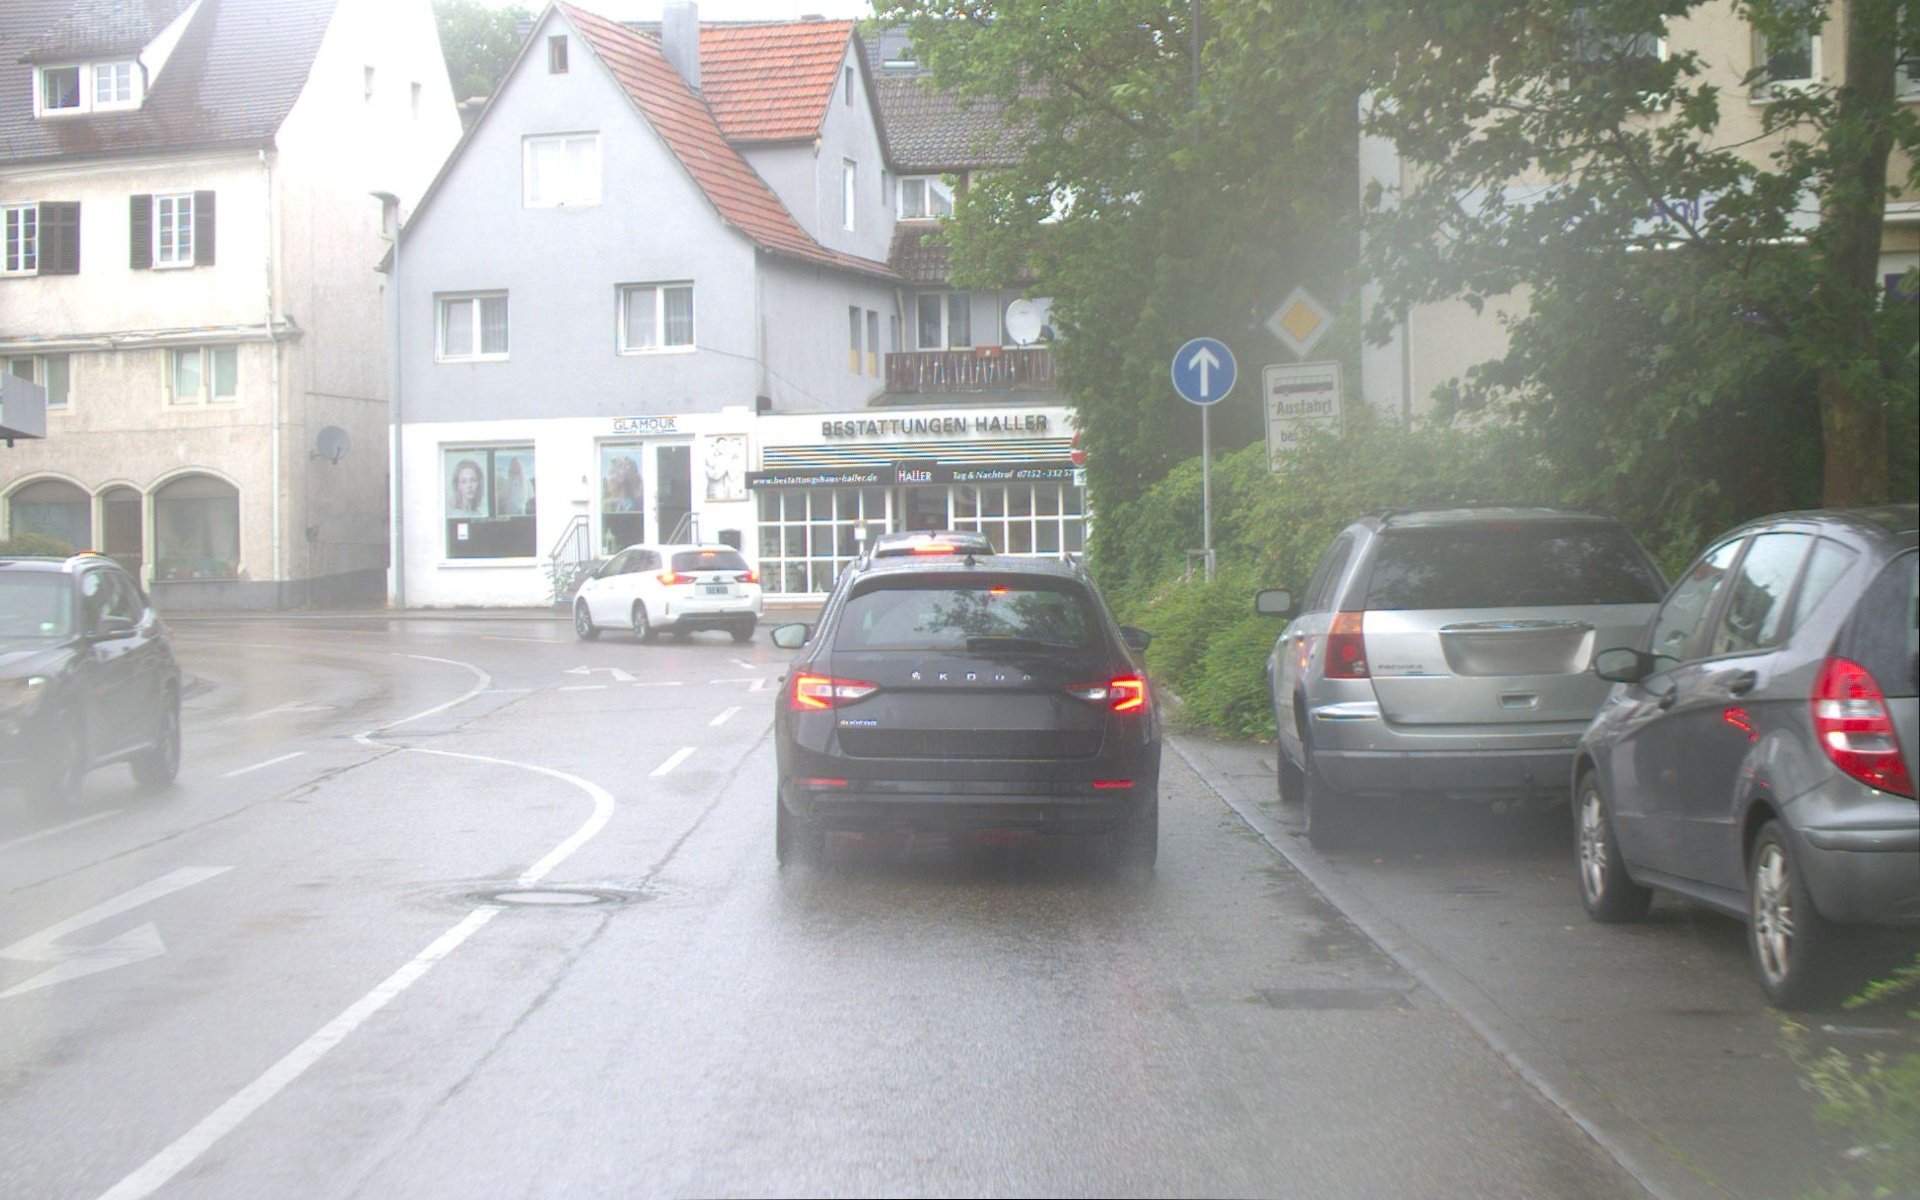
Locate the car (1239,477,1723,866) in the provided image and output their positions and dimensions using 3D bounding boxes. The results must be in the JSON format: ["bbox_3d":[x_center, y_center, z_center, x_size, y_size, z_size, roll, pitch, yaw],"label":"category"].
[{"bbox_3d":[2.644,0.280,18.547,1.931,1.774,4.734,-2,1,1],"label":"car"}]

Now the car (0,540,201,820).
[{"bbox_3d":[-6.103,0.436,21.410,1.816,1.566,4.276,-2,1,-1],"label":"car"}]

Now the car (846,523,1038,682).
[{"bbox_3d":[-0.141,-0.020,37.335,1.789,1.512,4.241,-2,2,3],"label":"car"}]

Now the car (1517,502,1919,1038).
[{"bbox_3d":[3.253,0.447,12.199,1.709,1.567,3.915,-2,1,-3],"label":"car"}]

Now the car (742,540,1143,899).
[{"bbox_3d":[-0.181,0.482,17.132,1.732,1.445,4.242,-1,2,-3],"label":"car"}]

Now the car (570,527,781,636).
[{"bbox_3d":[-4.316,-0.308,51.658,1.785,1.460,4.165,-2,3,-25],"label":"car"}]
